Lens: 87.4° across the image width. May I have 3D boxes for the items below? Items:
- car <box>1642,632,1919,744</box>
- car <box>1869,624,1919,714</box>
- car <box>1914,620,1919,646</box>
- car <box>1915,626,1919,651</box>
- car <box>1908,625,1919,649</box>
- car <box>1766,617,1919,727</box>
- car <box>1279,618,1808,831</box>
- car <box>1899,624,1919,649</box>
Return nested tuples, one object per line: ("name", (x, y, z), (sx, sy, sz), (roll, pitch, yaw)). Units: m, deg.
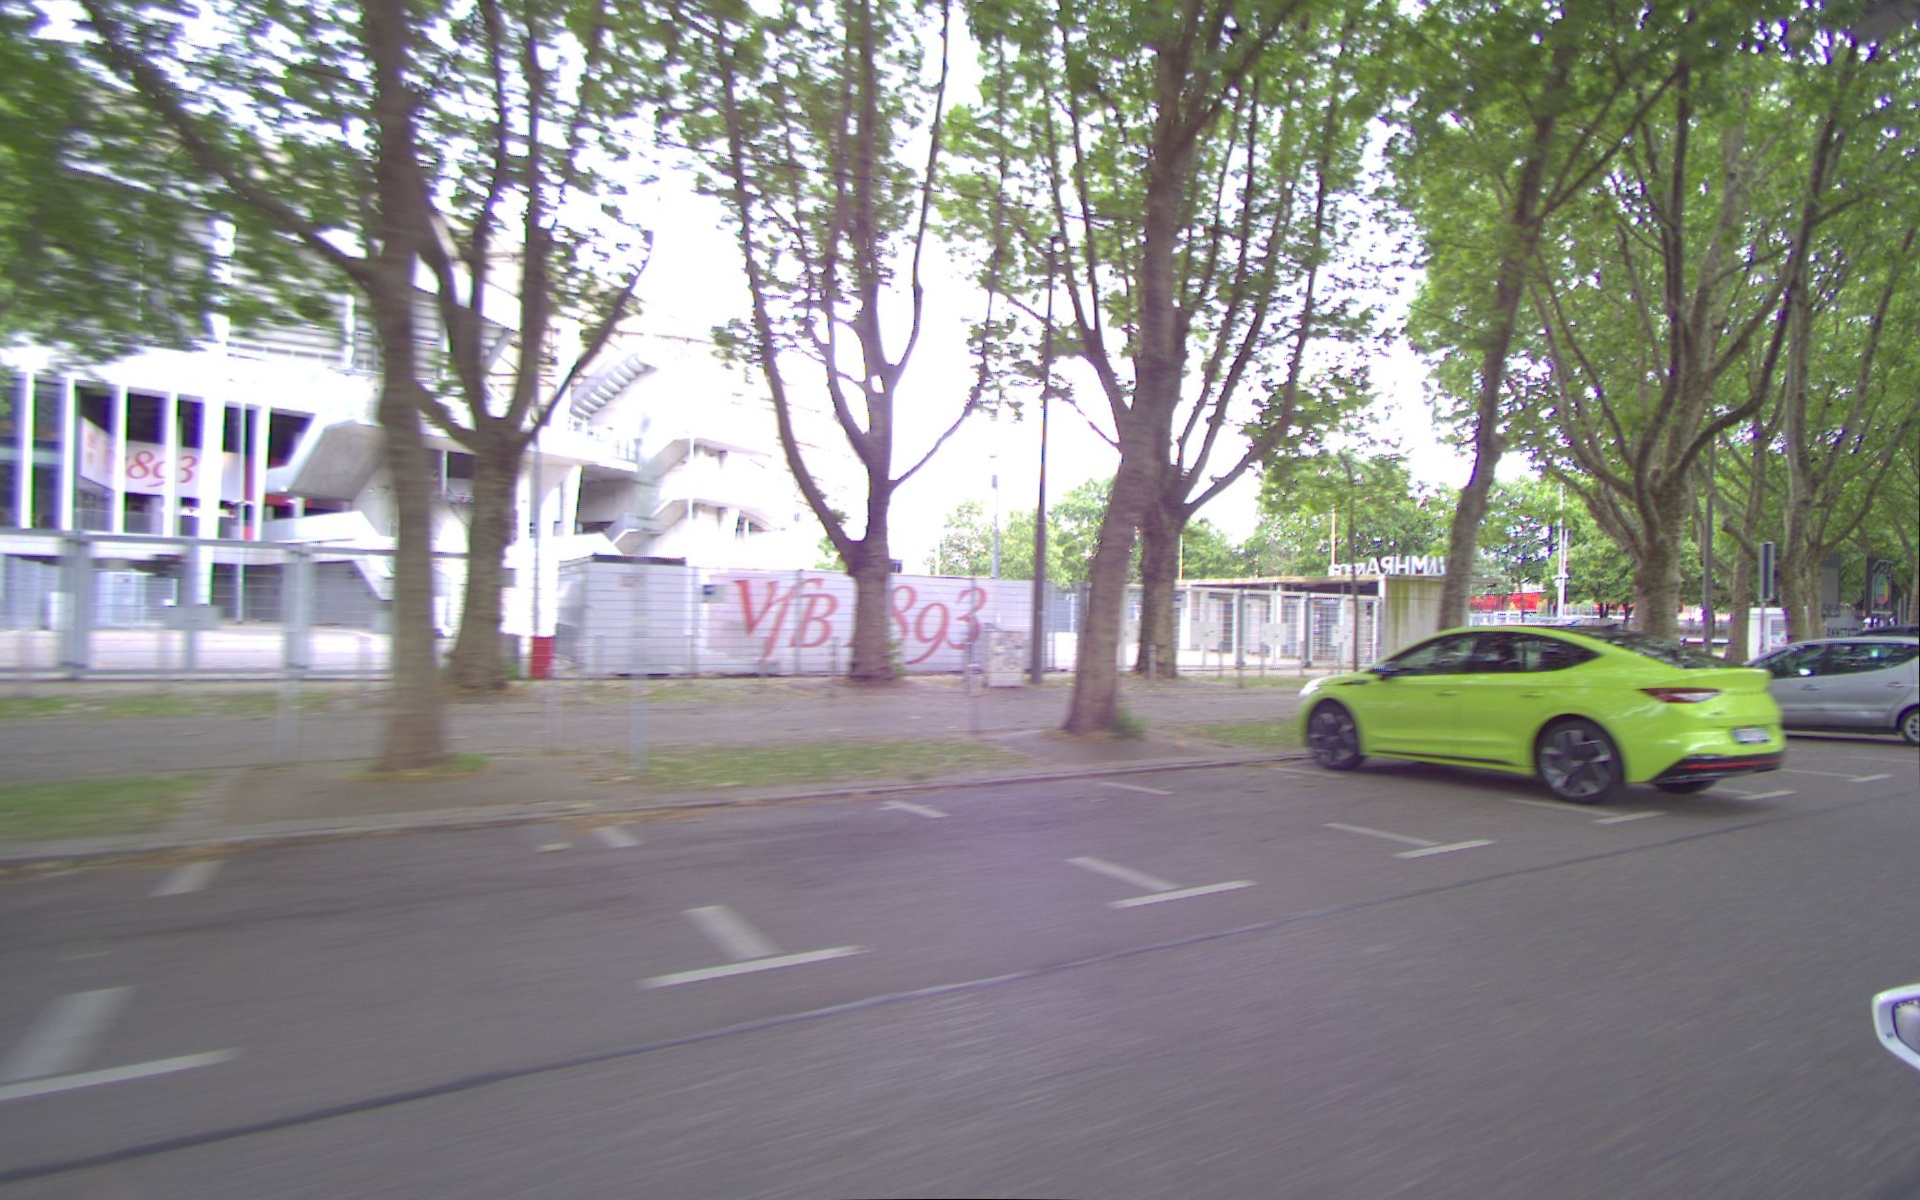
("car", (13.513, 1.329, 15.957), (1.740, 1.589, 4.080), (2, -3, -34))
("car", (22.420, 1.474, 20.819), (2.181, 1.949, 4.884), (1, -2, -29))
("car", (97.781, 3.401, 98.359), (1.977, 2.560, 5.972), (2, 0, -30))
("car", (95.937, 3.836, 96.344), (1.977, 2.349, 5.972), (2, 0, -30))
("car", (93.713, 3.588, 94.660), (1.977, 2.282, 5.972), (2, 0, -30))
("car", (17.911, 1.292, 18.245), (1.997, 1.949, 4.732), (2, -2, -34))
("car", (5.598, 1.044, 10.353), (1.736, 1.639, 4.499), (2, -1, -27))
("car", (91.413, 3.451, 93.128), (1.977, 2.282, 5.972), (2, 0, -30))
